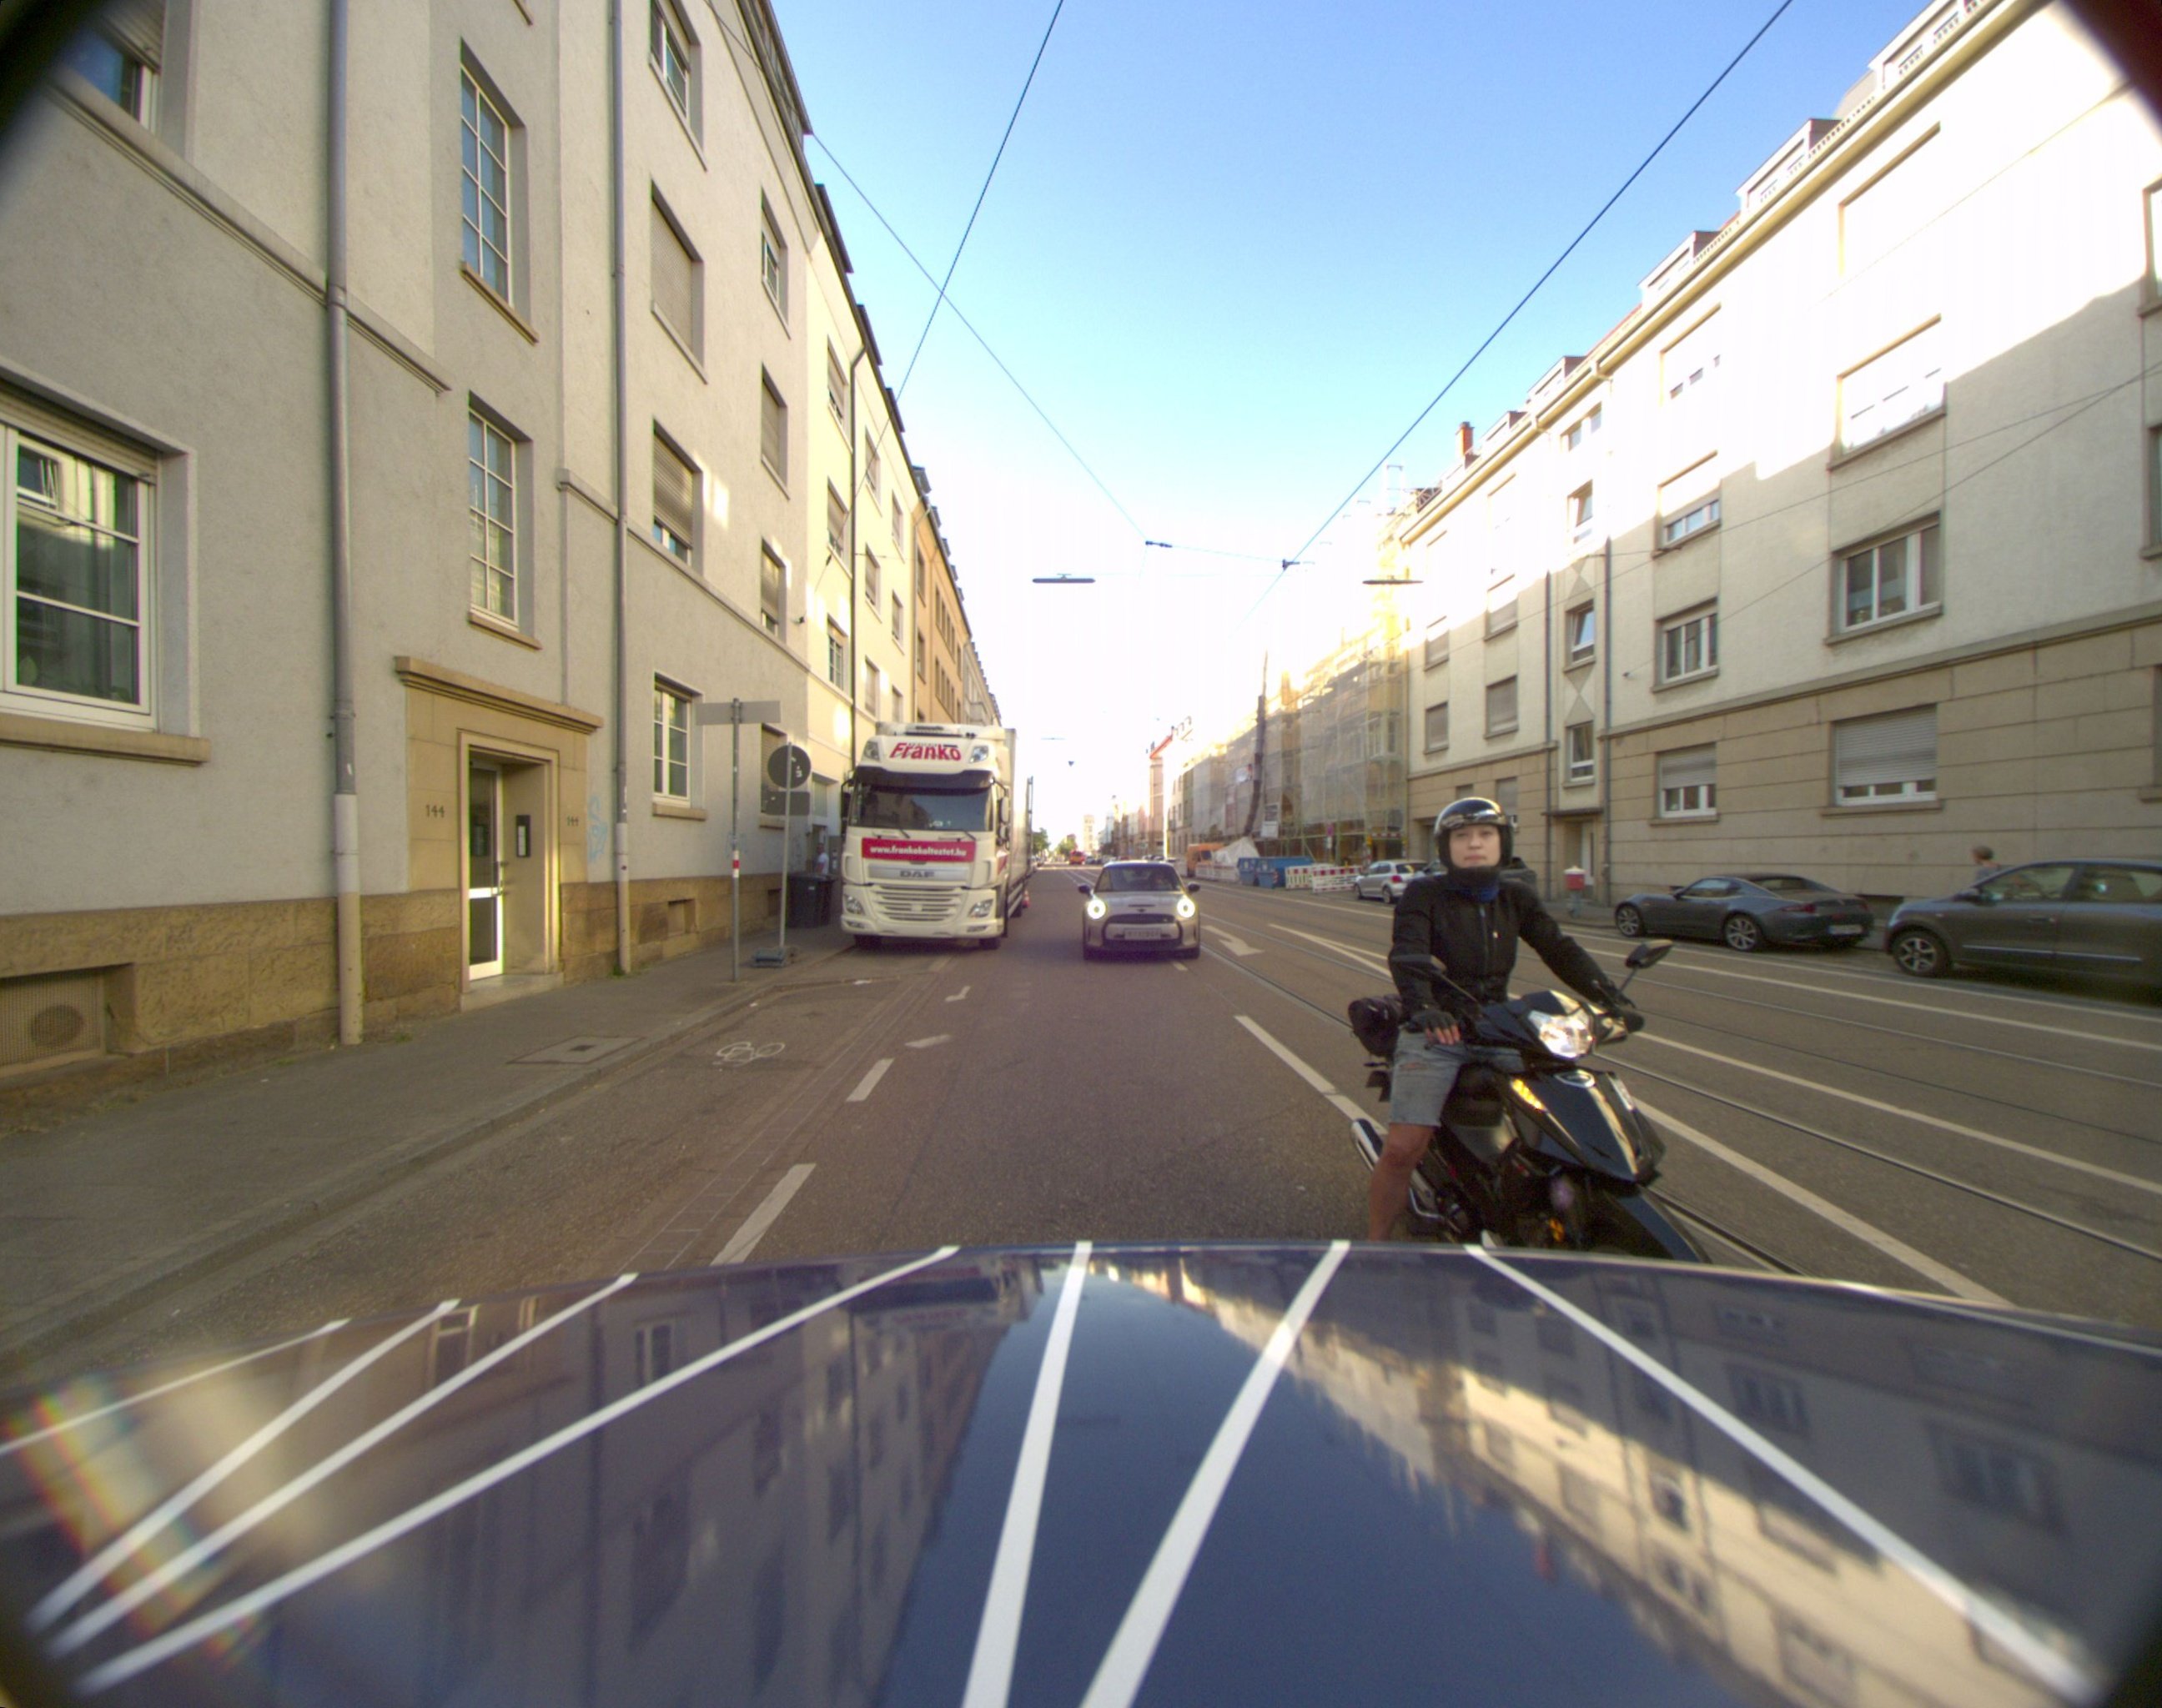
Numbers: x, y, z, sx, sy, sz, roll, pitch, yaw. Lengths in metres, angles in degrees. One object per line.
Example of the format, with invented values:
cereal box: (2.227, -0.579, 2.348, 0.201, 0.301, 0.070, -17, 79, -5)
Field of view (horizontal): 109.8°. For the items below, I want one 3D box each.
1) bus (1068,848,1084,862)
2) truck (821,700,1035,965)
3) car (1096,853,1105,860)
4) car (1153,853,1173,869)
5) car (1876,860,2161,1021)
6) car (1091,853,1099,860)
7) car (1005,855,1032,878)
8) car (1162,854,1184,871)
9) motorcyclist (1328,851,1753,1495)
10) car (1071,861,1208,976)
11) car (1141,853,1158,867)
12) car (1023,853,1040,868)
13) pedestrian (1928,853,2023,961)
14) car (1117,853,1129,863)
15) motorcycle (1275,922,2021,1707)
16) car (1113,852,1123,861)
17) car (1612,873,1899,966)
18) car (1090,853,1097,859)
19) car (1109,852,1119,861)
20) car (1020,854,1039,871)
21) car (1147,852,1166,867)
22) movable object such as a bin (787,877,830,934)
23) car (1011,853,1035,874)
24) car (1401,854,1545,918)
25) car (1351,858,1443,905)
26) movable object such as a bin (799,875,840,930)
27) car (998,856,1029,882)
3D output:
bus: (-1.173, 0.174, 178.053, 2.755, 3.095, 19.156, 0, 0, -3)
truck: (-2.624, -0.322, 17.173, 2.782, 3.903, 11.816, 0, 0, -2)
car: (4.260, 0.624, 167.804, 1.684, 1.478, 3.965, -2, 0, -1)
car: (8.268, 0.708, 76.802, 1.684, 1.478, 3.966, -2, 0, 1)
car: (11.419, 0.860, 8.311, 1.679, 1.519, 3.539, -1, 0, -3)
car: (3.538, 0.616, 191.738, 1.684, 1.478, 3.965, -2, 0, -1)
car: (-4.301, 0.828, 52.982, 1.685, 1.522, 4.148, -2, 0, -3)
car: (8.574, 0.763, 71.105, 1.684, 1.478, 3.966, -2, 0, 1)
motorcyclist: (1.310, 0.815, 2.383, 0.791, 1.645, 0.900, 0, 1, 1)
car: (0.769, 0.886, 12.329, 1.685, 1.454, 4.148, -2, 0, -3)
car: (7.936, 0.657, 87.872, 1.684, 1.478, 3.966, -2, 0, 1)
car: (-5.348, 0.650, 82.736, 1.685, 1.522, 4.148, -2, 0, -3)
pedestrian: (13.128, 0.752, 11.173, 0.570, 1.532, 0.693, 0, 1, -2)
car: (6.600, 0.628, 118.627, 1.684, 1.478, 3.966, -2, 0, 1)
motorcycle: (1.311, 0.971, 2.512, 0.791, 1.284, 2.273, 0, 0, 1)
car: (6.533, 0.470, 134.393, 1.684, 1.478, 3.966, -2, 0, 1)
car: (11.182, 1.001, 12.973, 1.520, 1.227, 3.685, -1, 0, -3)
car: (3.312, 0.597, 206.882, 1.684, 1.478, 3.965, -2, 0, -1)
car: (5.960, 0.450, 139.336, 1.684, 1.478, 3.966, -2, 0, 1)
car: (-4.854, 0.749, 72.090, 1.685, 1.522, 4.148, -2, 0, -3)
car: (8.247, 0.620, 83.175, 1.684, 1.573, 3.966, -2, 0, 1)
movable object such as a bin: (-5.381, 1.005, 15.032, 0.666, 1.087, 0.570, 0, 1, -2)
car: (-4.509, 0.746, 59.150, 1.685, 1.522, 4.148, -2, 0, -3)
car: (10.813, 0.806, 21.323, 1.696, 1.590, 4.206, -1, 0, -3)
car: (10.612, 0.882, 25.771, 1.543, 1.404, 3.510, -1, 0, -3)
movable object such as a bin: (-5.398, 0.996, 15.701, 0.666, 1.087, 0.570, 0, 1, -2)
car: (-4.174, 0.896, 47.179, 1.685, 1.522, 4.148, -2, 0, -3)
